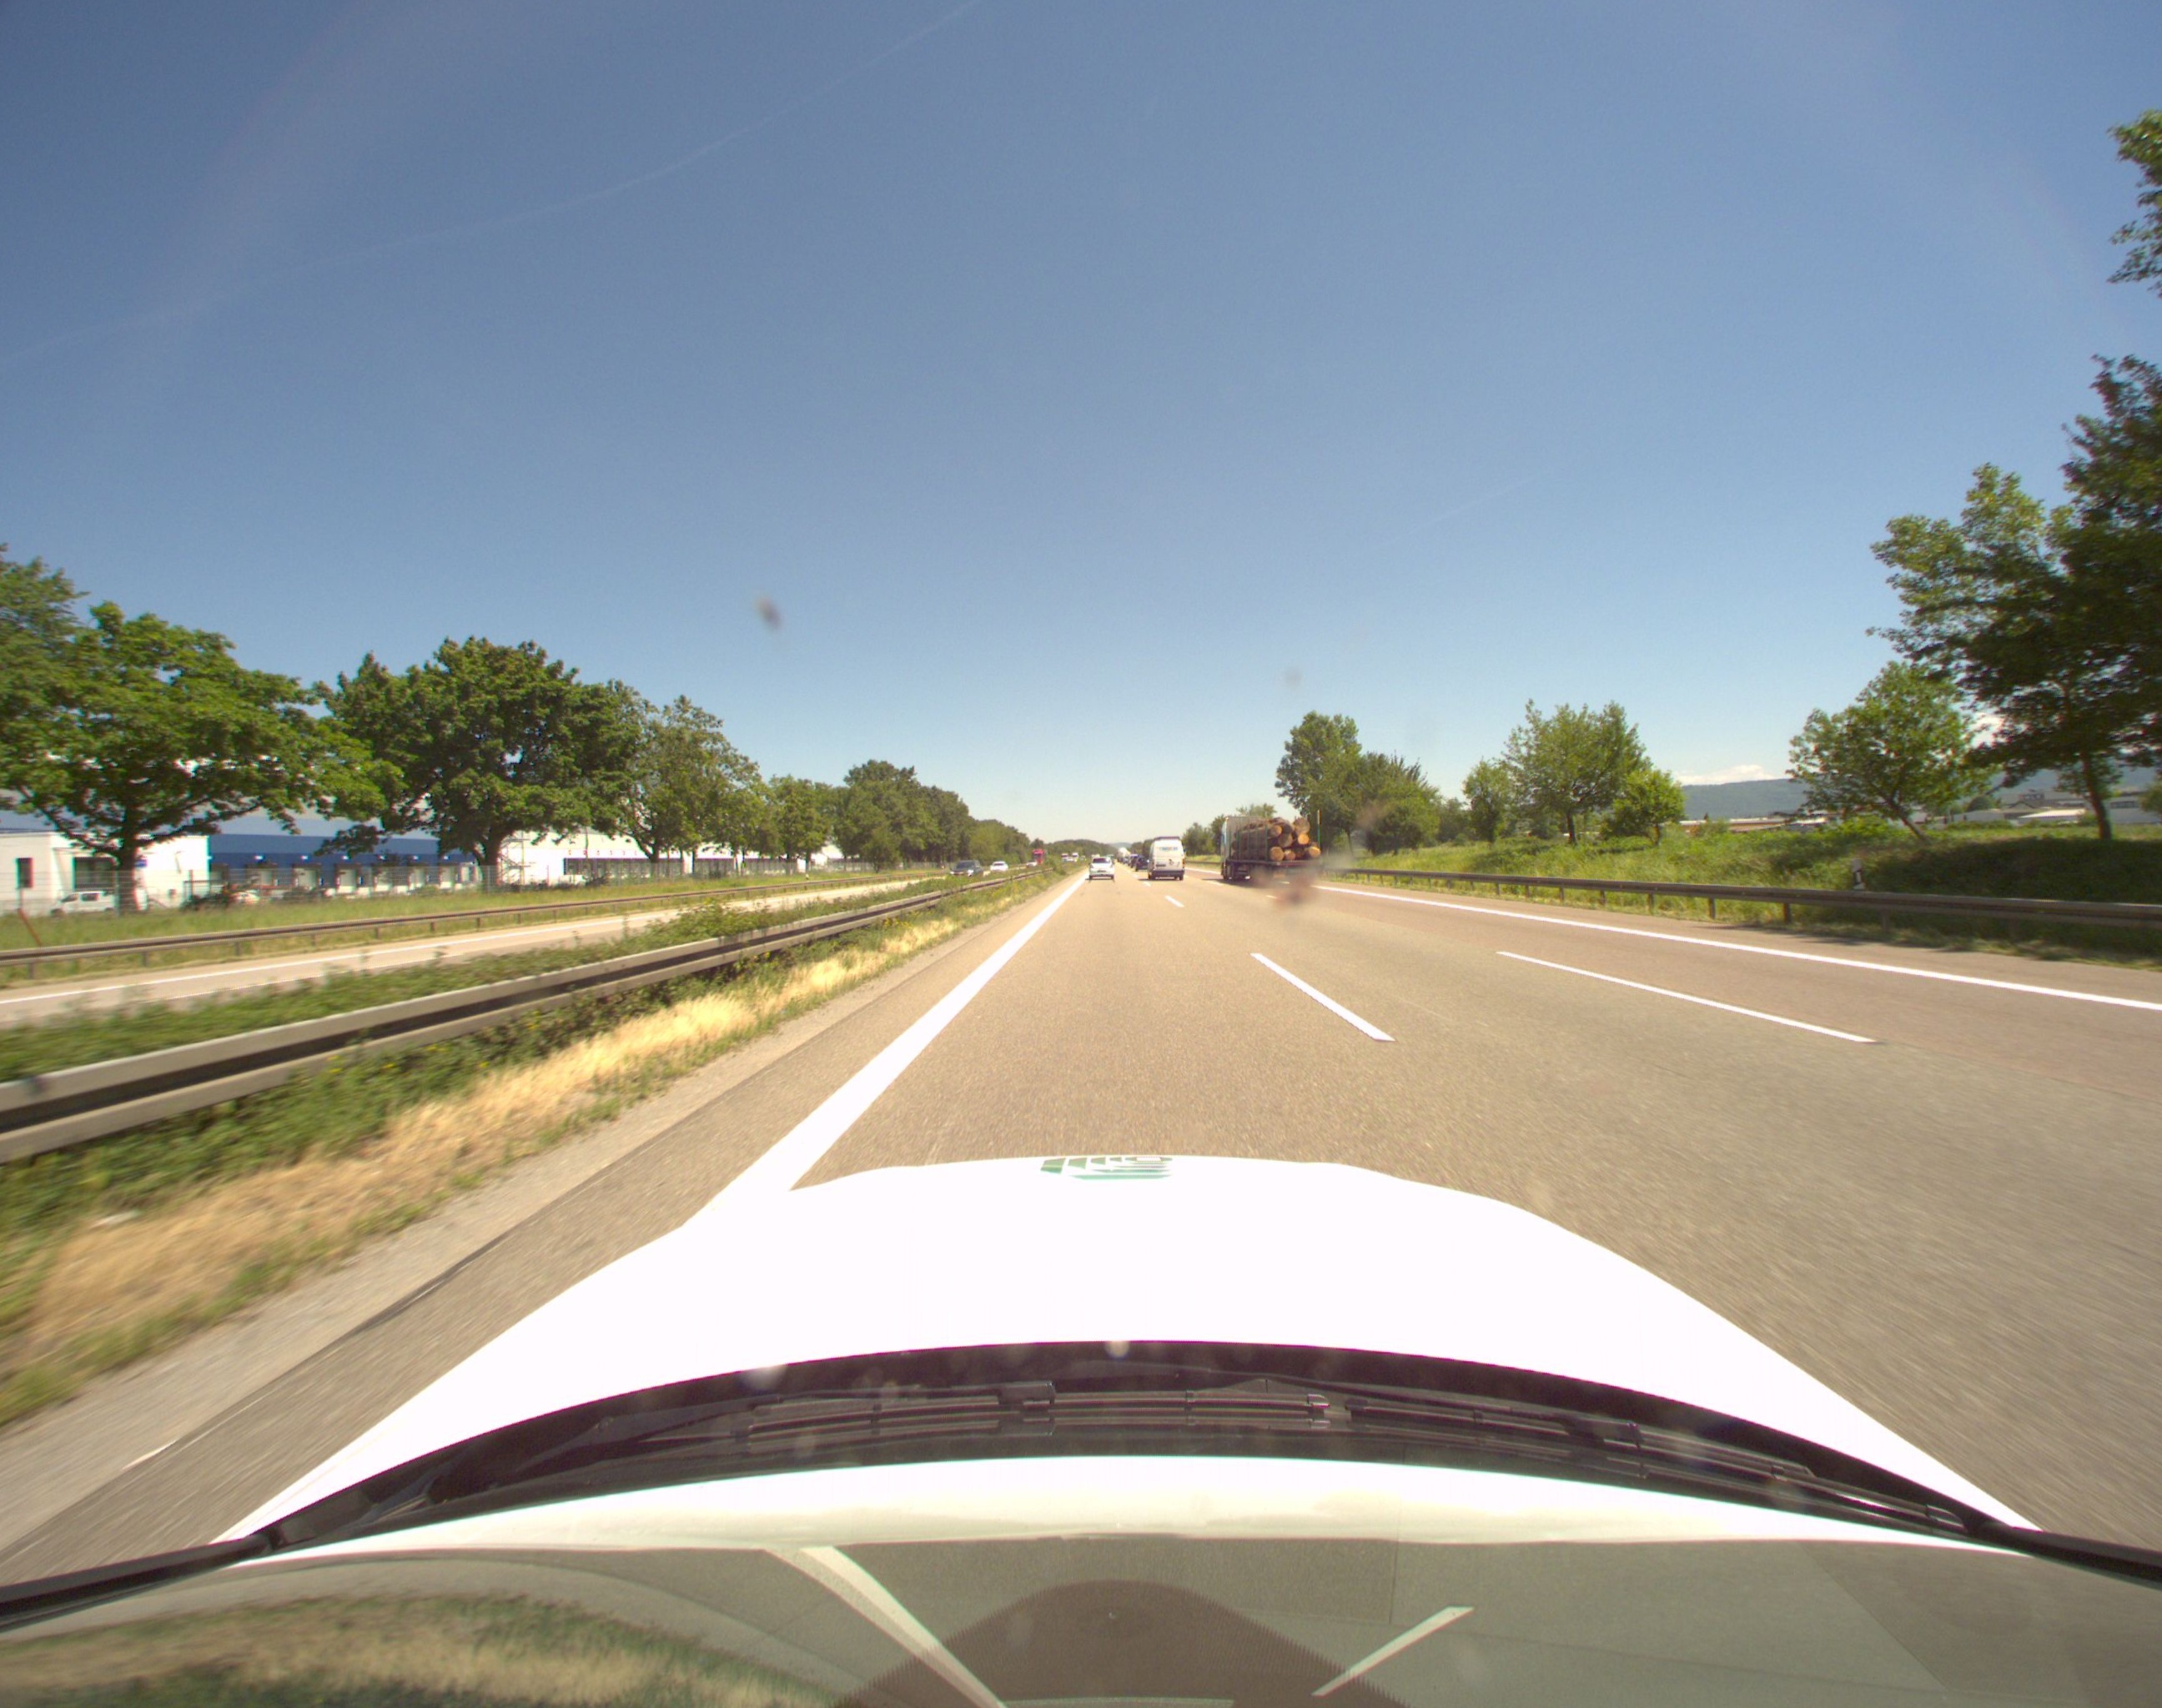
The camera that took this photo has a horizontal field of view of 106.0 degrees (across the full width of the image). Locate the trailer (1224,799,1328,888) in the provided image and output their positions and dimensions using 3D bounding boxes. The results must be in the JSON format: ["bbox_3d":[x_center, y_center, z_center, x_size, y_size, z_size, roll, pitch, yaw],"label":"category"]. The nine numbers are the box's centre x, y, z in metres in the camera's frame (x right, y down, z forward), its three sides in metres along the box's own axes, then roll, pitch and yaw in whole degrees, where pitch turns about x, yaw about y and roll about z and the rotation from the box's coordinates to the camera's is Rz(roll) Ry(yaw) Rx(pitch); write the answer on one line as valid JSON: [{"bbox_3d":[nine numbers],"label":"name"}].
[{"bbox_3d":[9.933,-0.466,43.268,2.643,3.958,13.641,-1,0,2],"label":"trailer"}]

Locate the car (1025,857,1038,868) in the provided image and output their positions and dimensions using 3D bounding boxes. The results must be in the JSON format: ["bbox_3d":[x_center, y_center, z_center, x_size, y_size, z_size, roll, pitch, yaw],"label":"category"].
[{"bbox_3d":[-8.752,1.486,144.903,1.839,1.682,4.816,-3,0,2],"label":"car"}]

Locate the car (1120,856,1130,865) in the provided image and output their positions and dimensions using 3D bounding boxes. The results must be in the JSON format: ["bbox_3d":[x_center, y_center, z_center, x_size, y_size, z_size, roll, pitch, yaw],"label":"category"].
[{"bbox_3d":[8.756,1.284,161.759,1.851,1.652,4.000,-1,0,0],"label":"car"}]

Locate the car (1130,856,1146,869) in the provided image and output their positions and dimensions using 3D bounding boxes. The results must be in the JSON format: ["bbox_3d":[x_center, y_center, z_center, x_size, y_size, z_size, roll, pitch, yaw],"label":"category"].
[{"bbox_3d":[7.466,1.099,107.646,1.851,1.652,4.000,-1,0,0],"label":"car"}]

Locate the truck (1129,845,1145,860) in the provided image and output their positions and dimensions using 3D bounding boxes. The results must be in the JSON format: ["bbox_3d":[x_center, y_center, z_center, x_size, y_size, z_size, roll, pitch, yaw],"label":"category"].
[{"bbox_3d":[15.944,-0.370,233.228,3.248,4.209,16.837,0,0,-1],"label":"truck"}]

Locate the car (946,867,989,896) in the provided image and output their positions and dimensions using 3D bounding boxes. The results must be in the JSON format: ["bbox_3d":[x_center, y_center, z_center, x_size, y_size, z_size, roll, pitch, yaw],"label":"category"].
[{"bbox_3d":[-7.607,1.829,55.121,1.986,1.640,4.861,-5,0,2],"label":"car"}]

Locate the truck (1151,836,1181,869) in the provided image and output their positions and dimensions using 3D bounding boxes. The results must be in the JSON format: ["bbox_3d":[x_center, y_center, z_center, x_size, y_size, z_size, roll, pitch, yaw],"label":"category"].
[{"bbox_3d":[11.546,-0.180,112.359,3.067,4.209,16.852,0,0,2],"label":"truck"}]

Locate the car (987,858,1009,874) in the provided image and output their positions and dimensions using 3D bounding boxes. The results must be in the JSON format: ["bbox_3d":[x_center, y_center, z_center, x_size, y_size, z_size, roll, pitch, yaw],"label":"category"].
[{"bbox_3d":[-9.801,1.396,96.578,1.987,1.640,4.859,-5,0,1],"label":"car"}]

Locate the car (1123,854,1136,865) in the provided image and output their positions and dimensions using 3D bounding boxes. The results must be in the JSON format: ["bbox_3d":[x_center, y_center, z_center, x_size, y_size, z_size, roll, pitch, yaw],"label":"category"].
[{"bbox_3d":[7.671,0.869,129.641,1.851,1.652,4.000,-1,0,0],"label":"car"}]

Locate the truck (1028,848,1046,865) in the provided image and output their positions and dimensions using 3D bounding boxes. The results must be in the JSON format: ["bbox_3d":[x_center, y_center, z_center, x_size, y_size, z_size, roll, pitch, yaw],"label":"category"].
[{"bbox_3d":[-10.404,0.585,194.085,3.426,3.931,6.223,-4,0,2],"label":"truck"}]

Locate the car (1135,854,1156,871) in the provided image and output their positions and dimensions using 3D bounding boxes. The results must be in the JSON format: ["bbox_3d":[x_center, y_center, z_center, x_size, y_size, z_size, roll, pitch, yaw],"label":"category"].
[{"bbox_3d":[6.518,0.856,82.953,1.851,1.652,4.000,-1,0,0],"label":"car"}]

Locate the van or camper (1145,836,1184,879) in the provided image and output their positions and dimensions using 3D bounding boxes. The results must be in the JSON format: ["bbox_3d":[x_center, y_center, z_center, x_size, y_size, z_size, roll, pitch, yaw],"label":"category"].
[{"bbox_3d":[5.377,0.238,52.910,2.050,2.622,5.987,-1,0,2],"label":"van or camper"}]

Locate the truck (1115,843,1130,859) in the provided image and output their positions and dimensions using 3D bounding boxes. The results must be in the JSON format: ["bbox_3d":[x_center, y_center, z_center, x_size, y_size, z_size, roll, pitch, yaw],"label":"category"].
[{"bbox_3d":[11.461,-0.816,225.979,3.248,4.209,16.837,0,0,-1],"label":"truck"}]

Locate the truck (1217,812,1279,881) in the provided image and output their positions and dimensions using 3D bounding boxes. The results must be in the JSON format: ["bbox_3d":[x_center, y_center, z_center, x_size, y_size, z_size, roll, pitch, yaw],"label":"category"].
[{"bbox_3d":[10.153,-0.421,50.210,2.660,3.994,6.638,-1,0,2],"label":"truck"}]

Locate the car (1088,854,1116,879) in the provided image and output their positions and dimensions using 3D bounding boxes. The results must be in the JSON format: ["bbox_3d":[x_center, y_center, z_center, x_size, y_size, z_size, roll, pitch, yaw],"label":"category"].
[{"bbox_3d":[1.400,0.831,55.675,1.851,1.652,4.000,0,0,0],"label":"car"}]

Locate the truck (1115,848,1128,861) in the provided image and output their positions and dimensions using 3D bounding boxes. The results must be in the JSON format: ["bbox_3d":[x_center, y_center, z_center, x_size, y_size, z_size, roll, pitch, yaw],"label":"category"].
[{"bbox_3d":[12.765,0.173,258.517,3.248,4.209,16.837,0,0,-1],"label":"truck"}]

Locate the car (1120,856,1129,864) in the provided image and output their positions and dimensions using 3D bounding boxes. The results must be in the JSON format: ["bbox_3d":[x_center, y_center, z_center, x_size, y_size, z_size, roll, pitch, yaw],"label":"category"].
[{"bbox_3d":[9.983,1.359,186.541,1.851,1.652,4.000,-1,0,0],"label":"car"}]
